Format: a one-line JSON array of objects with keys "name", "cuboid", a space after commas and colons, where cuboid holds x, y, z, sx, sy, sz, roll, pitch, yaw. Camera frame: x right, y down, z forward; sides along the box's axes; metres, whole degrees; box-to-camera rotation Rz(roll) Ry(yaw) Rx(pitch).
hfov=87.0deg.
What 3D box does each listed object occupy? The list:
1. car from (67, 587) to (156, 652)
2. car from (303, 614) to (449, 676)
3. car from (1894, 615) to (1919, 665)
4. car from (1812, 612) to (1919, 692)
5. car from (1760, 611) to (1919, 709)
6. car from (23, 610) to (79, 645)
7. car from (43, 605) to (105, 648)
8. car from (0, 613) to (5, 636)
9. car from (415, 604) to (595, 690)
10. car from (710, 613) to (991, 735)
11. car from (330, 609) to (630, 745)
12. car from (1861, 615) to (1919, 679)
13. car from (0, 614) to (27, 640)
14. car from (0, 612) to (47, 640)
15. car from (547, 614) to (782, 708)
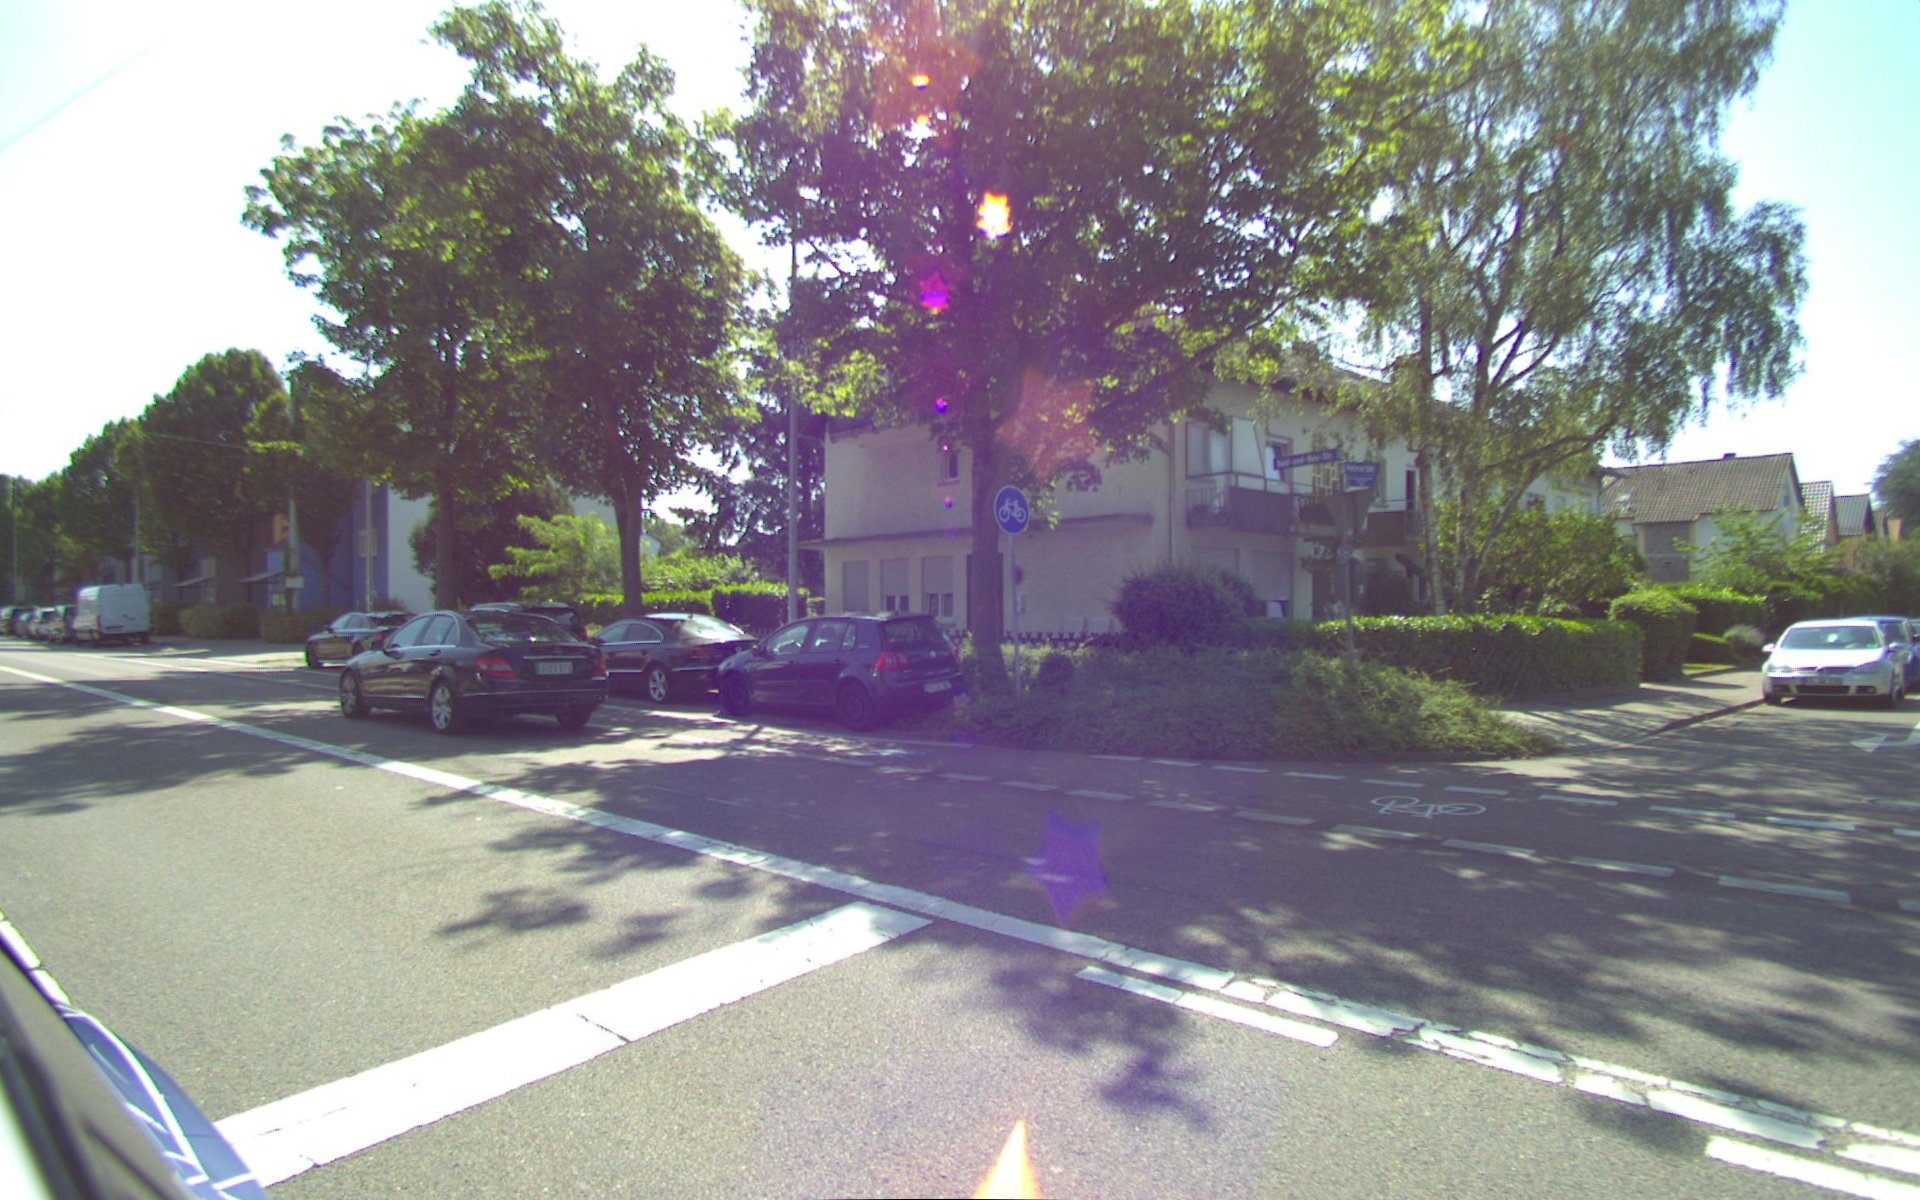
[{"name": "car", "cuboid": [-38.209, 0.844, 45.503, 6.082, 2.671, 1.991, -1, 2, 41]}, {"name": "car", "cuboid": [-14.681, 1.070, 25.353, 4.452, 1.447, 1.658, -1, -1, 39]}, {"name": "car", "cuboid": [29.840, 1.193, 30.850, 3.940, 1.467, 1.766, 1, -1, -44]}, {"name": "car", "cuboid": [19.297, 1.024, 21.178, 3.940, 1.536, 1.809, 1, -1, -44]}, {"name": "car", "cuboid": [15.678, 0.971, 17.839, 3.938, 1.536, 1.810, 1, -1, -42]}, {"name": "car", "cuboid": [-48.925, 1.452, 54.440, 4.145, 1.681, 1.658, -1, 3, 41]}, {"name": "car", "cuboid": [-44.556, 1.309, 50.875, 4.455, 1.950, 1.658, -1, 3, 41]}, {"name": "car", "cuboid": [-65.804, 1.724, 68.012, 3.760, 1.513, 1.660, -1, 3, 37]}, {"name": "car", "cuboid": [-9.513, 0.918, 21.029, 4.237, 1.625, 1.658, -1, -1, 39]}, {"name": "car", "cuboid": [-1.631, 0.915, 14.097, 4.081, 1.462, 1.598, -1, -1, 42]}, {"name": "car", "cuboid": [-6.108, 0.845, 12.660, 4.302, 1.420, 1.767, -1, -2, 41]}, {"name": "car", "cuboid": [23.414, 1.119, 24.717, 3.940, 1.467, 1.766, 1, -1, -44]}, {"name": "car", "cuboid": [-60.862, 1.698, 64.249, 3.760, 1.513, 1.660, -1, 3, 37]}, {"name": "car", "cuboid": [-56.559, 1.547, 61.081, 3.764, 1.513, 1.658, -1, 3, 41]}, {"name": "car", "cuboid": [-5.190, 0.952, 17.428, 4.578, 1.405, 1.679, -1, -1, 41]}]
